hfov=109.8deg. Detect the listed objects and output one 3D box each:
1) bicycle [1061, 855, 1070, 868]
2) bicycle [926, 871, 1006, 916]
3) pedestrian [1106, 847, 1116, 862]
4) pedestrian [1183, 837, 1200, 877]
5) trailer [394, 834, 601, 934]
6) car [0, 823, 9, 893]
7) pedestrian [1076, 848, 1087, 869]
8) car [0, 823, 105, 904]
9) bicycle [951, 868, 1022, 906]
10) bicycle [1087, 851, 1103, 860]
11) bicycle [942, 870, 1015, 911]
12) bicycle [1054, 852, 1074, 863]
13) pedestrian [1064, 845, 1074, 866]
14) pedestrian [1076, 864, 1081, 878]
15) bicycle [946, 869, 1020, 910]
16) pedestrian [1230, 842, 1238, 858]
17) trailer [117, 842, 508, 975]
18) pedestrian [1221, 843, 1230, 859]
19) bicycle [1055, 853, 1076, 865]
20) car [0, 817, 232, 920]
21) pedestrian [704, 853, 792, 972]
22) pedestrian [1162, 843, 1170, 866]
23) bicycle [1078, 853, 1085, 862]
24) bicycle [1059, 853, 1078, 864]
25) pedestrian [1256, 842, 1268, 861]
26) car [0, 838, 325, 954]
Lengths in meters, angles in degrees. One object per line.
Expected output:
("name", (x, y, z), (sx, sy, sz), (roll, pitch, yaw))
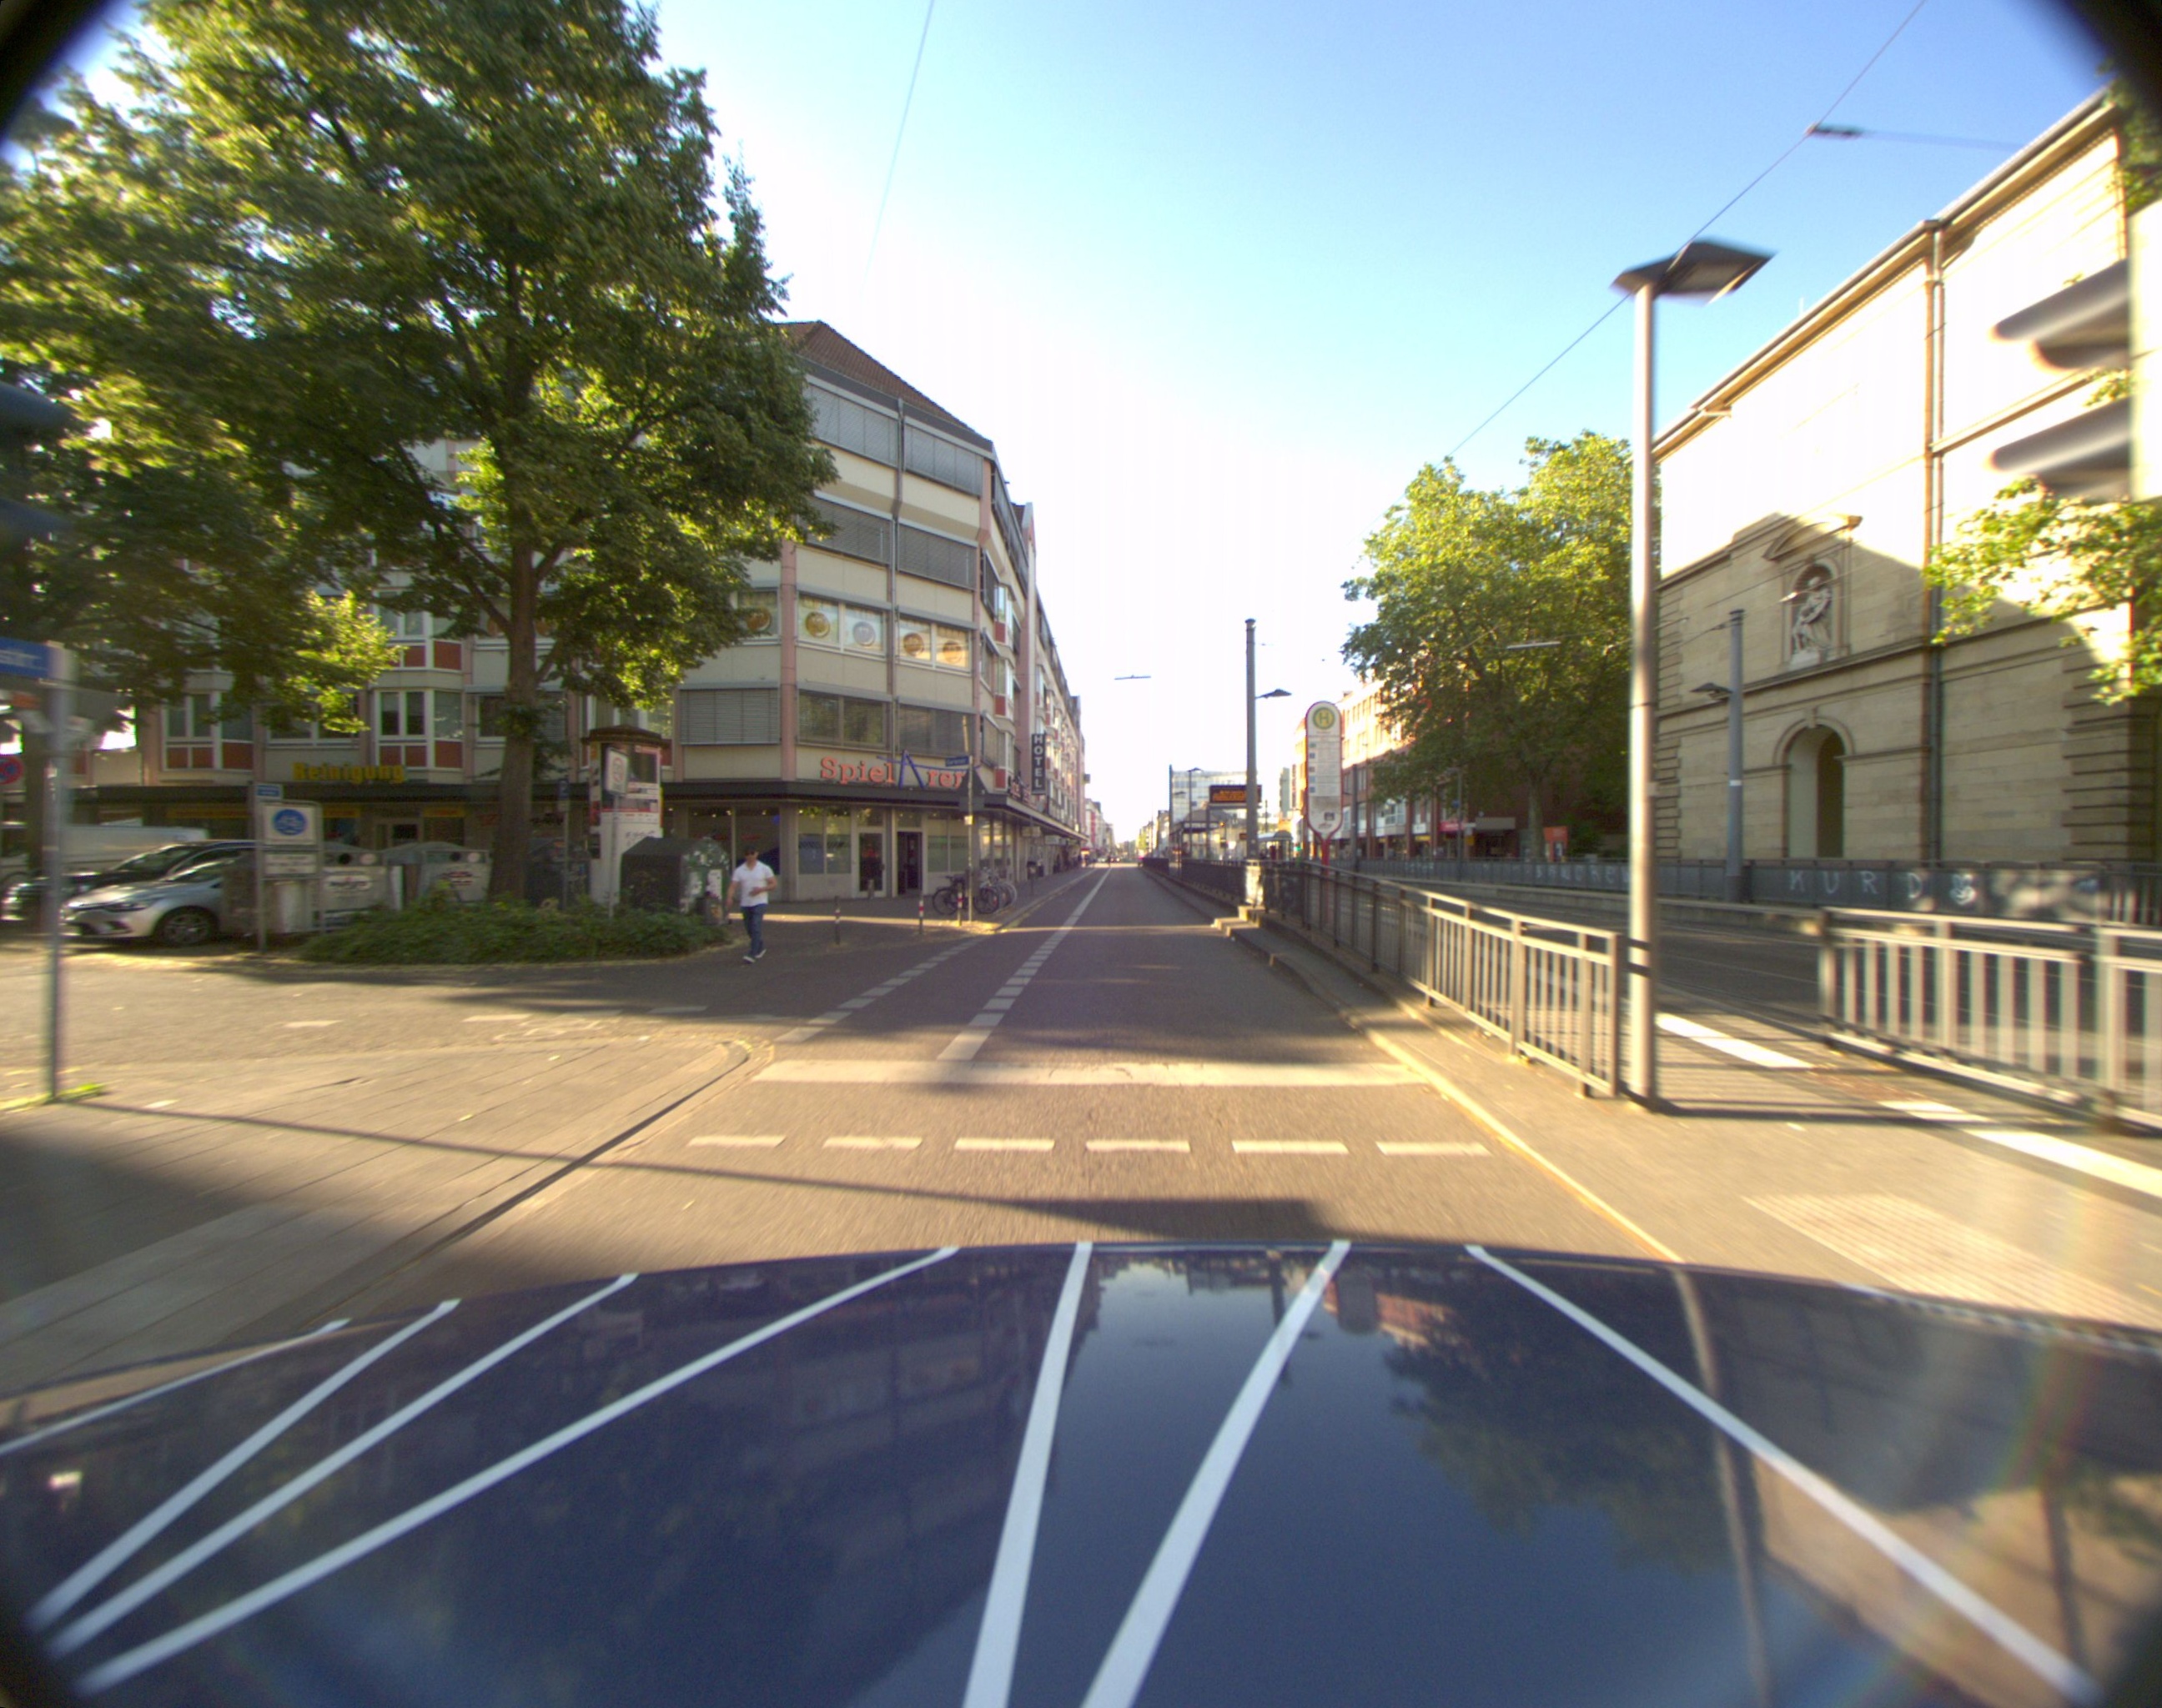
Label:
("bicycle", (-1.355, 0.661, 67.458), (0.659, 1.061, 1.794), (4, 1, 2))
("bicycle", (-2.802, 0.954, 18.684), (1.838, 1.048, 0.710), (-1, 1, 0))
("pedestrian", (3.824, 0.045, 97.339), (0.812, 1.793, 0.859), (-3, 1, -25))
("pedestrian", (4.679, 0.125, 32.229), (0.623, 1.702, 0.850), (0, 1, 2))
("trailer", (-12.241, 0.531, 16.184), (1.577, 1.873, 3.188), (2, 2, 14))
("car", (-31.606, 0.194, 19.286), (1.969, 1.929, 4.648), (-1, 1, 20))
("pedestrian", (0.036, 0.393, 65.859), (0.800, 1.713, 1.061), (3, 2, 4))
("car", (-27.018, 0.265, 17.810), (1.968, 1.929, 4.648), (-1, 1, 21))
("bicycle", (-2.688, 0.938, 21.744), (1.918, 1.041, 0.681), (-1, 1, 0))
("bicycle", (1.829, 0.198, 100.542), (2.175, 1.117, 0.768), (-1, 1, -1))
("bicycle", (-2.733, 0.962, 20.358), (1.838, 1.048, 0.718), (-1, 1, 0))
("bicycle", (-1.709, 0.352, 76.425), (1.929, 1.054, 0.576), (1, 1, 0))
("pedestrian", (-1.103, 0.158, 69.926), (0.916, 1.856, 0.779), (1, 2, 0))
("pedestrian", (-0.252, 1.832, 81.900), (0.385, 1.586, 0.408), (2, 2, 23))
("bicycle", (-2.704, 0.981, 21.088), (1.975, 1.098, 0.614), (0, 1, 0))
("pedestrian", (17.077, -0.435, 84.914), (0.859, 1.757, 0.812), (-3, 1, 11))
("trailer", (-11.998, 0.693, 12.276), (1.969, 1.722, 3.937), (1, 2, 17))
("pedestrian", (16.201, -0.377, 85.078), (0.859, 1.757, 0.812), (-3, 1, 11))
("bicycle", (-1.496, 0.465, 73.283), (1.928, 1.054, 0.576), (1, 1, 3))
("car", (-22.144, 0.289, 16.131), (1.900, 2.039, 5.055), (-1, 1, 21))
("pedestrian", (-4.822, 0.825, 11.074), (0.785, 1.656, 1.034), (0, -1, 4))
("pedestrian", (6.543, 0.030, 58.619), (0.584, 1.781, 0.606), (-1, 2, 1))
("bicycle", (0.049, 0.370, 85.314), (0.678, 0.971, 1.842), (4, 1, 0))
("bicycle", (-1.253, 0.409, 74.632), (1.734, 0.968, 0.506), (3, 1, 8))
("pedestrian", (16.056, -0.198, 67.459), (0.913, 1.652, 0.967), (0, 1, 2))
("car", (-16.622, 0.598, 13.545), (1.969, 1.722, 3.937), (0, 1, 17))
